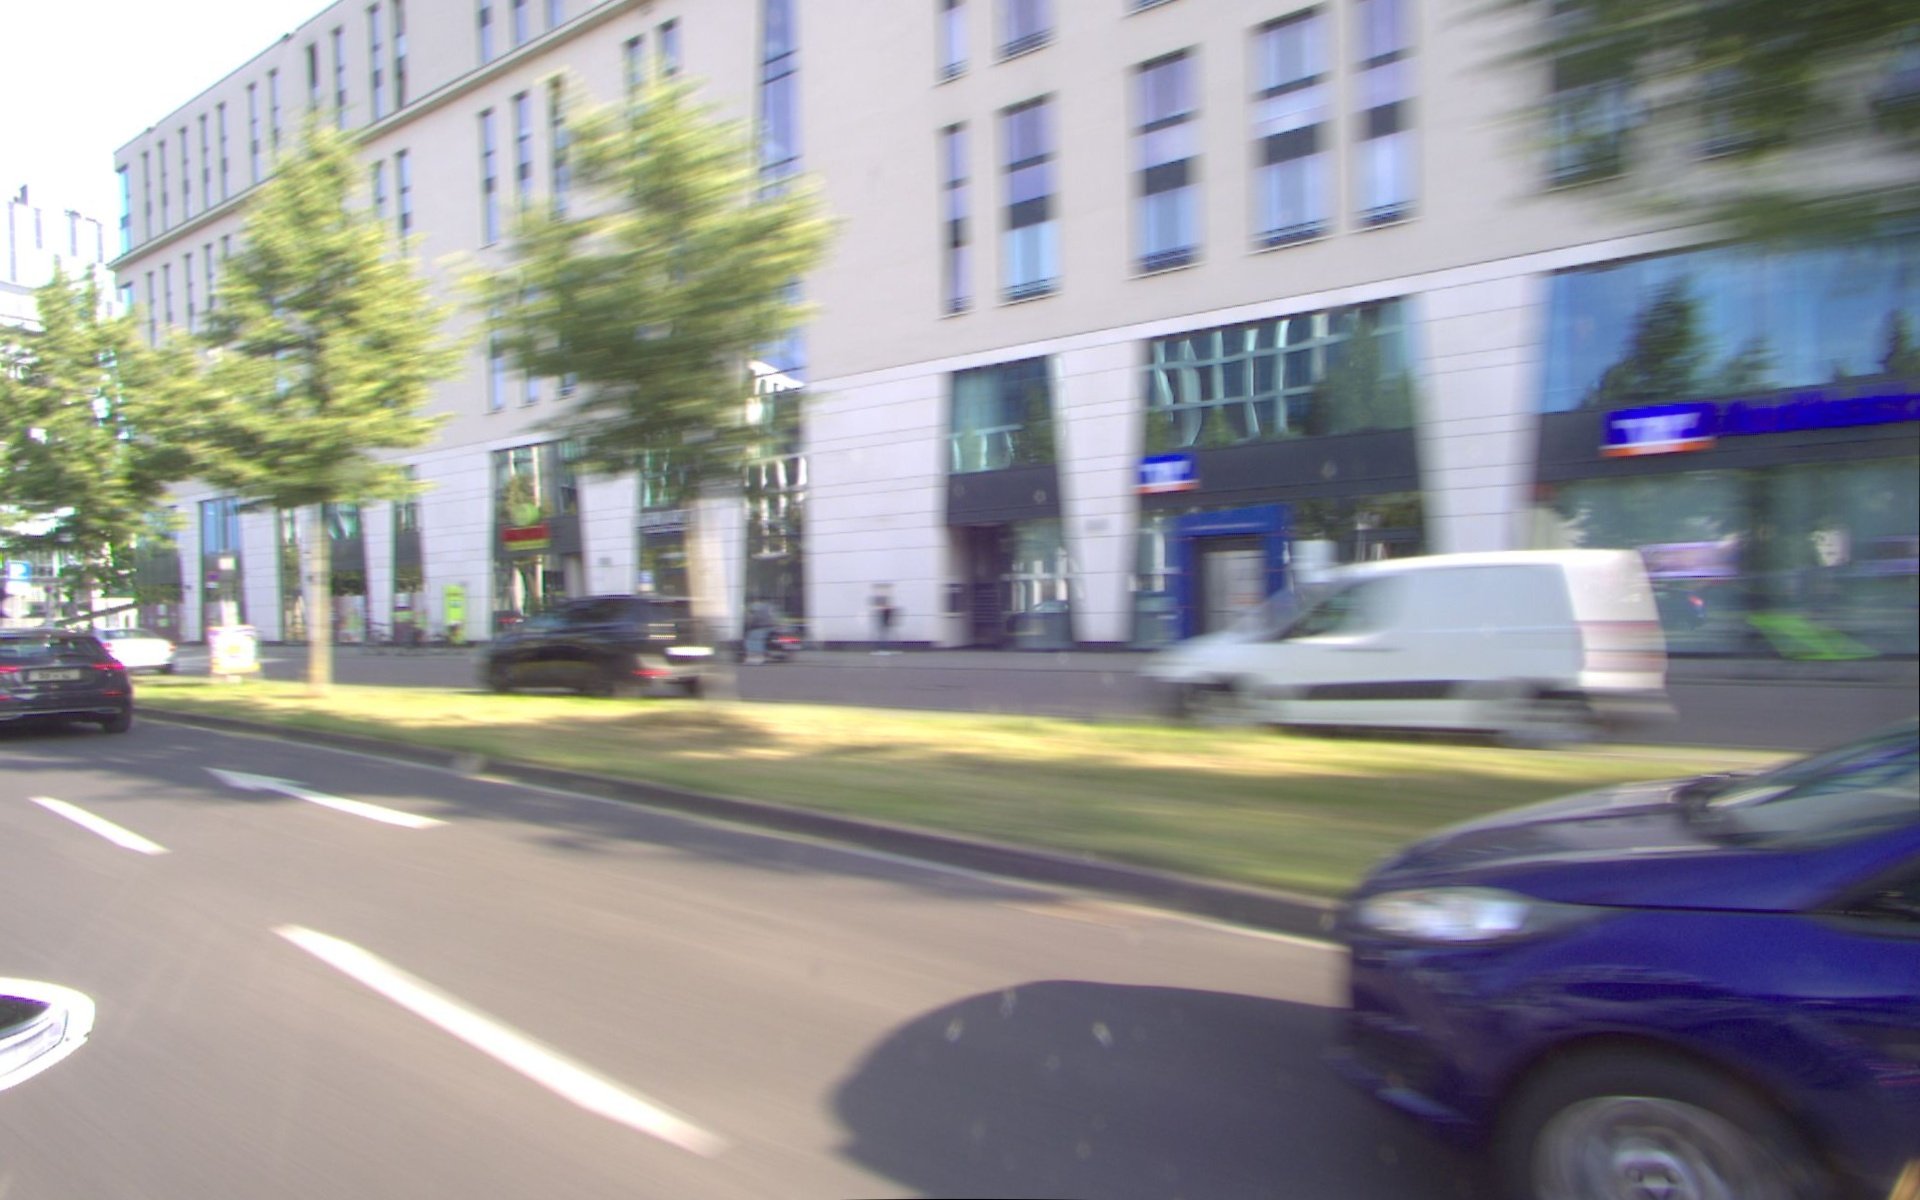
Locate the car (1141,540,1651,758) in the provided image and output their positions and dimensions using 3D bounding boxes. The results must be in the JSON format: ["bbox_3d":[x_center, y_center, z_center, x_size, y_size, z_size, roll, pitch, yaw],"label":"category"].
[{"bbox_3d":[4.108,0.463,9.841,4.232,1.733,1.825,-2,-2,30],"label":"car"}]

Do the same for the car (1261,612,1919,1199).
[{"bbox_3d":[2.742,0.738,1.909,3.859,1.442,1.554,-2,-2,38],"label":"car"}]

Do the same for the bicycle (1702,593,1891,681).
[{"bbox_3d":[11.331,0.506,13.647,1.918,1.131,0.490,-2,1,33],"label":"bicycle"}]

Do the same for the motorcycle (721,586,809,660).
[{"bbox_3d":[-4.587,0.545,23.512,1.982,1.640,0.699,-2,4,30],"label":"motorcycle"}]

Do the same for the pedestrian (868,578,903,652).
[{"bbox_3d":[-1.826,0.388,24.562,0.637,1.785,0.536,-1,-1,33],"label":"pedestrian"}]

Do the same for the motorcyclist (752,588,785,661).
[{"bbox_3d":[-4.496,0.571,23.511,0.411,1.663,0.622,-1,3,29],"label":"motorcyclist"}]

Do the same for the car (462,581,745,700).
[{"bbox_3d":[-5.916,0.623,16.471,4.609,1.730,1.894,0,-1,31],"label":"car"}]

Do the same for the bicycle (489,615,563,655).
[{"bbox_3d":[-12.614,1.008,29.117,1.868,1.098,0.635,-2,1,9],"label":"bicycle"}]

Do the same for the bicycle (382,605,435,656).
[{"bbox_3d":[-17.898,1.001,32.504,2.182,1.587,0.554,-2,-2,33],"label":"bicycle"}]

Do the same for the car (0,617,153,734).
[{"bbox_3d":[-13.086,0.991,13.949,3.906,1.442,1.770,-2,-2,33],"label":"car"}]

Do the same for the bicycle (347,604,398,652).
[{"bbox_3d":[-20.011,0.979,34.094,2.245,1.591,0.554,-2,-2,33],"label":"bicycle"}]

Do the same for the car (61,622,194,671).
[{"bbox_3d":[-22.844,1.266,27.456,3.849,1.258,1.705,-2,-2,32],"label":"car"}]
